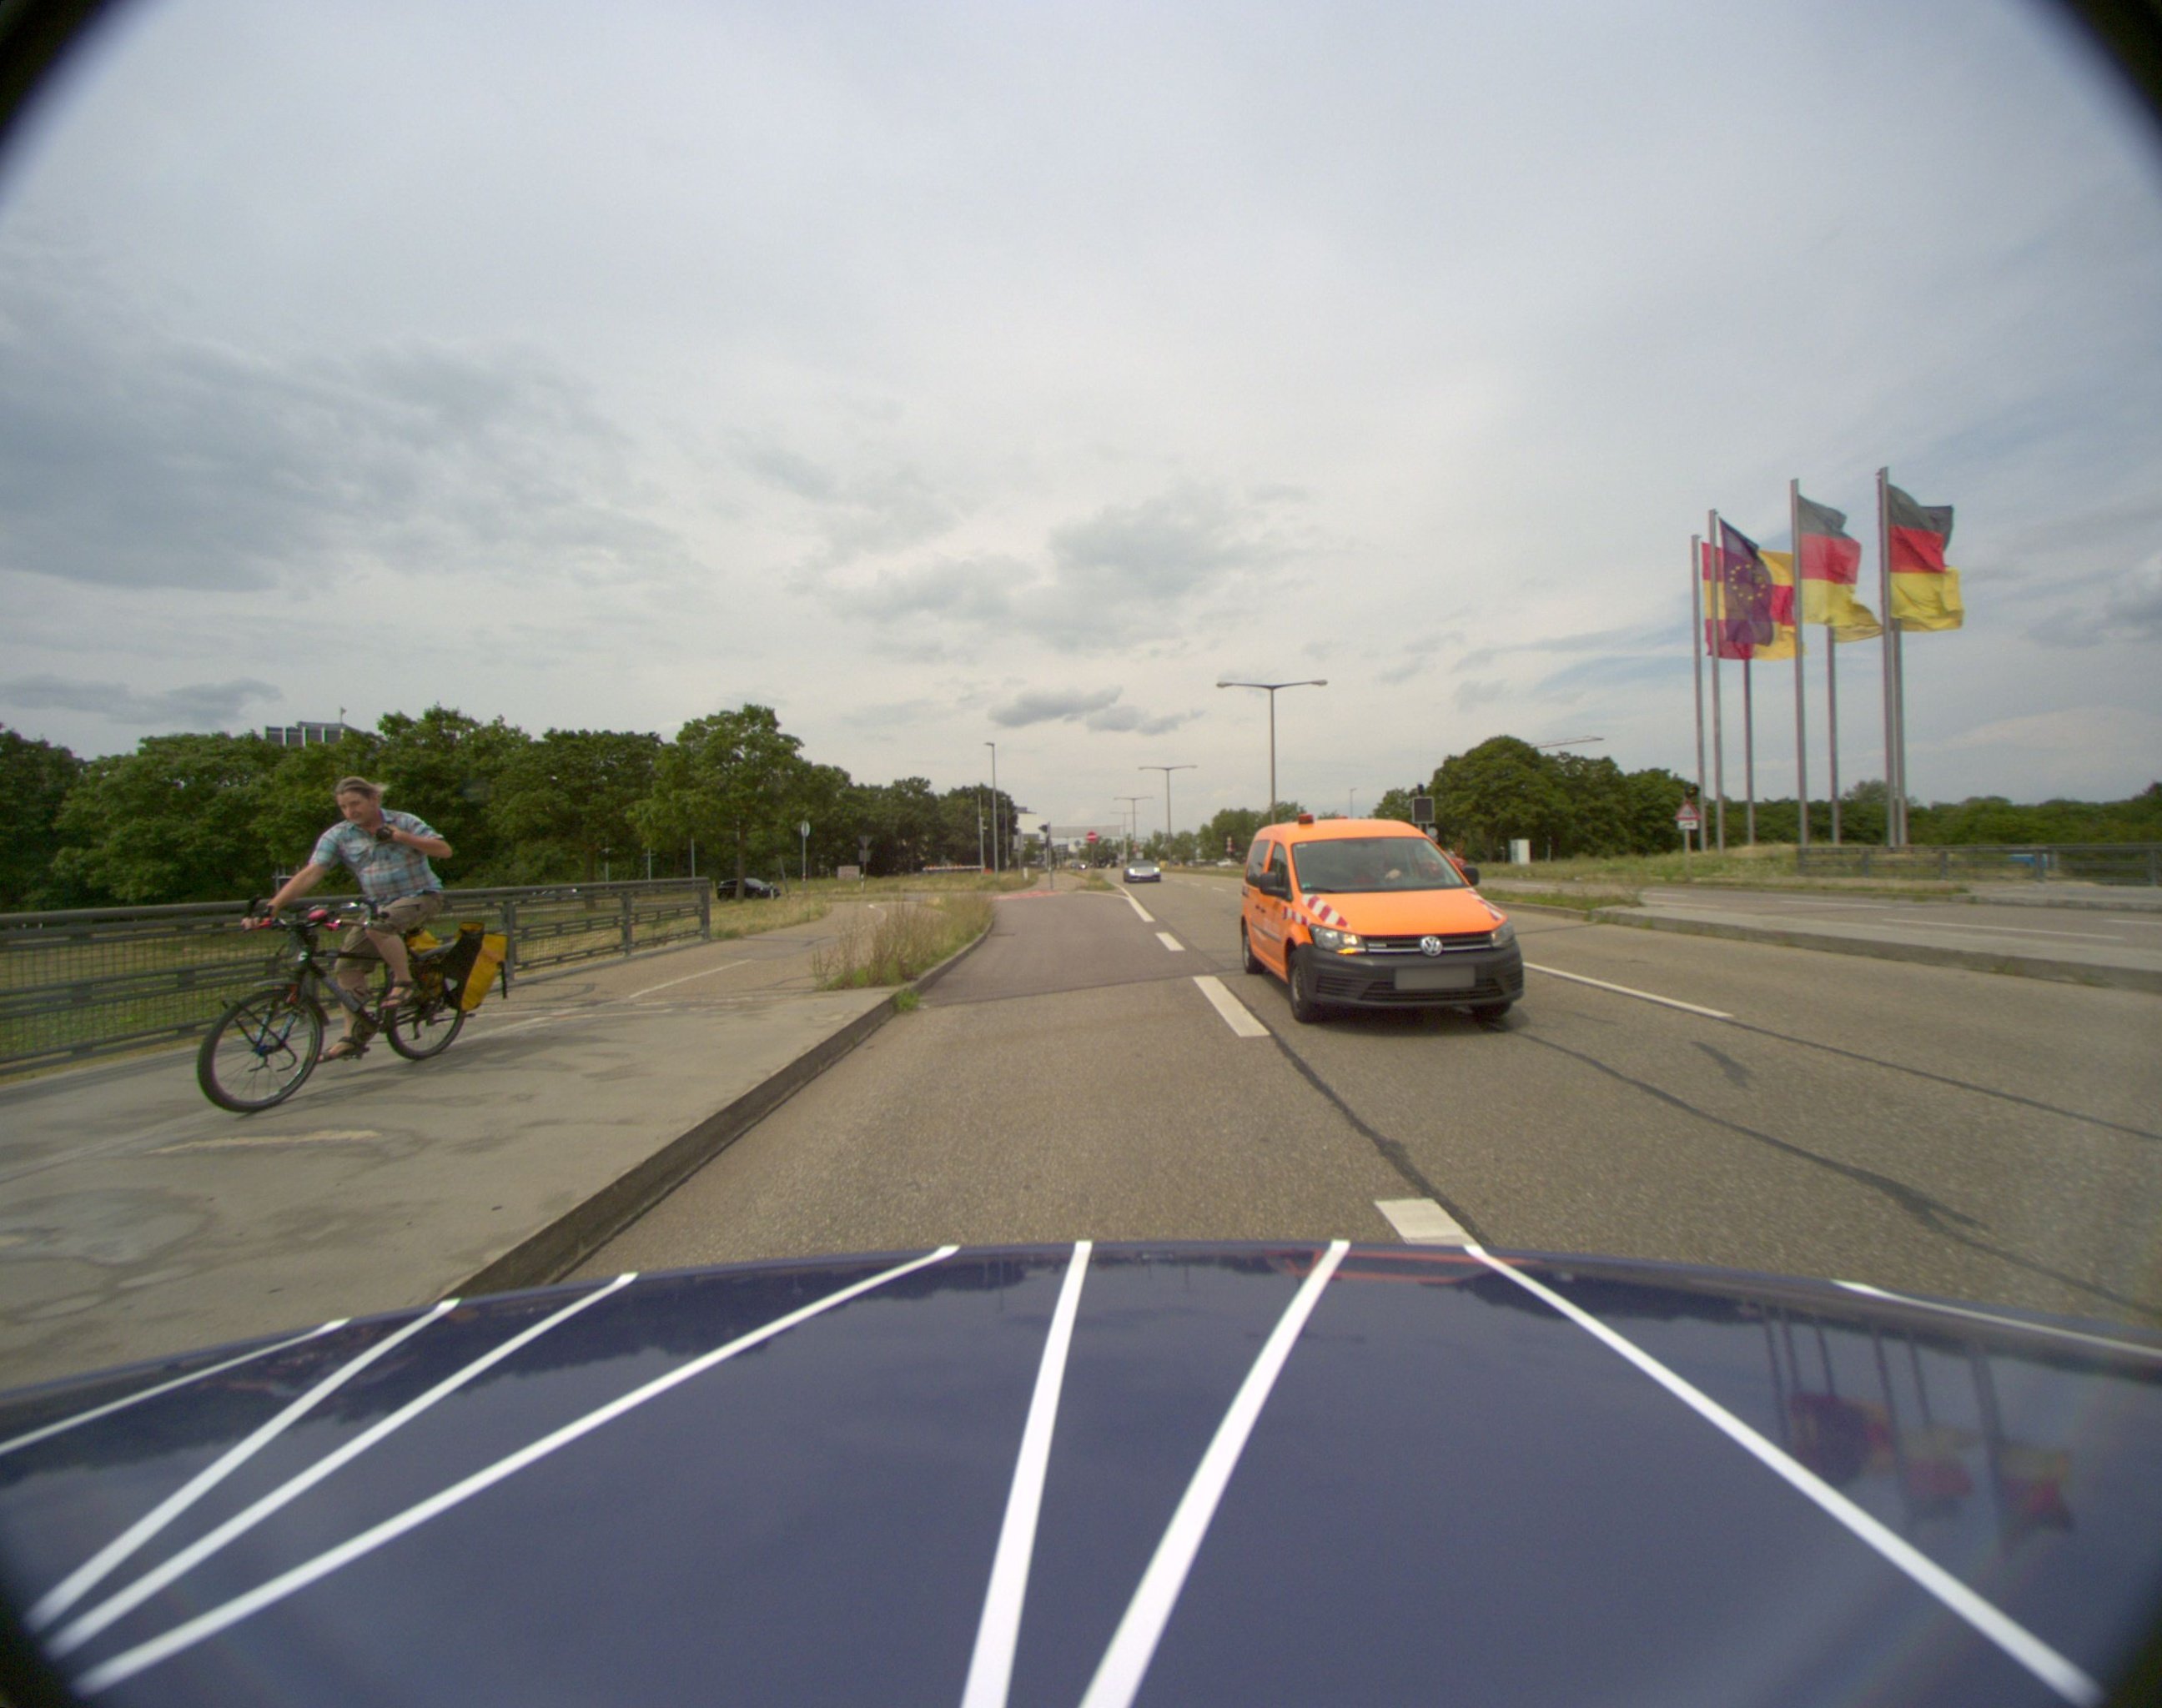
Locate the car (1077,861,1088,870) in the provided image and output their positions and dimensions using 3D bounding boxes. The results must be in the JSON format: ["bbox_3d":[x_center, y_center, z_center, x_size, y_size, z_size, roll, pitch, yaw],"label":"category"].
[{"bbox_3d":[0.246,1.838,120.736,1.558,1.229,3.470,-3,-1,0],"label":"car"}]

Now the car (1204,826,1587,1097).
[{"bbox_3d":[2.577,0.781,7.574,1.892,1.824,4.430,-3,-1,0],"label":"car"}]

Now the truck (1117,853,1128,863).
[{"bbox_3d":[8.834,0.813,161.553,1.999,2.001,4.000,-2,-1,0],"label":"truck"}]

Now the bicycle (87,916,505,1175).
[{"bbox_3d":[-4.527,1.009,4.624,0.815,1.133,1.763,0,-1,-5],"label":"bicycle"}]

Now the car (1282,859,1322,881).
[{"bbox_3d":[16.095,1.165,55.544,1.695,1.485,3.684,-3,-1,-1],"label":"car"}]

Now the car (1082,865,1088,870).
[{"bbox_3d":[1.186,3.973,227.150,1.695,1.229,3.470,-3,-1,0],"label":"car"}]

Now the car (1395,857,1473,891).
[{"bbox_3d":[16.309,0.902,35.334,1.695,1.485,3.999,0,-1,-1],"label":"car"}]

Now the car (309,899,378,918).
[{"bbox_3d":[-61.364,4.503,63.258,3.686,1.265,1.677,-3,0,-19],"label":"car"}]

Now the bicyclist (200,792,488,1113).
[{"bbox_3d":[-4.534,0.555,4.776,0.873,1.791,0.956,-1,0,-6],"label":"bicyclist"}]

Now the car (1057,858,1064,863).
[{"bbox_3d":[-5.230,1.760,196.726,1.695,1.229,3.470,-3,-1,0],"label":"car"}]

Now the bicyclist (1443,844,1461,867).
[{"bbox_3d":[26.019,0.133,53.315,0.820,1.583,0.737,-2,0,1],"label":"bicyclist"}]

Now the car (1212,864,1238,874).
[{"bbox_3d":[22.590,2.370,119.316,3.631,1.456,1.700,-3,-1,40],"label":"car"}]

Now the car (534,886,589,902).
[{"bbox_3d":[-45.744,3.514,66.988,3.687,1.124,1.676,-2,0,-23],"label":"car"}]

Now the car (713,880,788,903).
[{"bbox_3d":[-22.138,2.515,50.883,4.236,1.275,1.805,-3,0,9],"label":"car"}]

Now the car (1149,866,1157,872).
[{"bbox_3d":[16.813,3.514,177.517,1.469,1.229,3.470,-3,-1,0],"label":"car"}]

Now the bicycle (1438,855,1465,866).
[{"bbox_3d":[25.983,0.467,53.339,0.820,0.729,2.222,-2,-1,1],"label":"bicycle"}]

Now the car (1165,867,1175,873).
[{"bbox_3d":[18.490,3.316,157.970,1.695,1.229,3.470,-3,-1,0],"label":"car"}]

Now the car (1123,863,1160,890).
[{"bbox_3d":[3.475,1.289,44.058,1.696,1.403,3.683,-3,-1,-2],"label":"car"}]

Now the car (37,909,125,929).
[{"bbox_3d":[-76.954,4.990,58.531,3.687,1.124,1.676,-2,0,-23],"label":"car"}]
